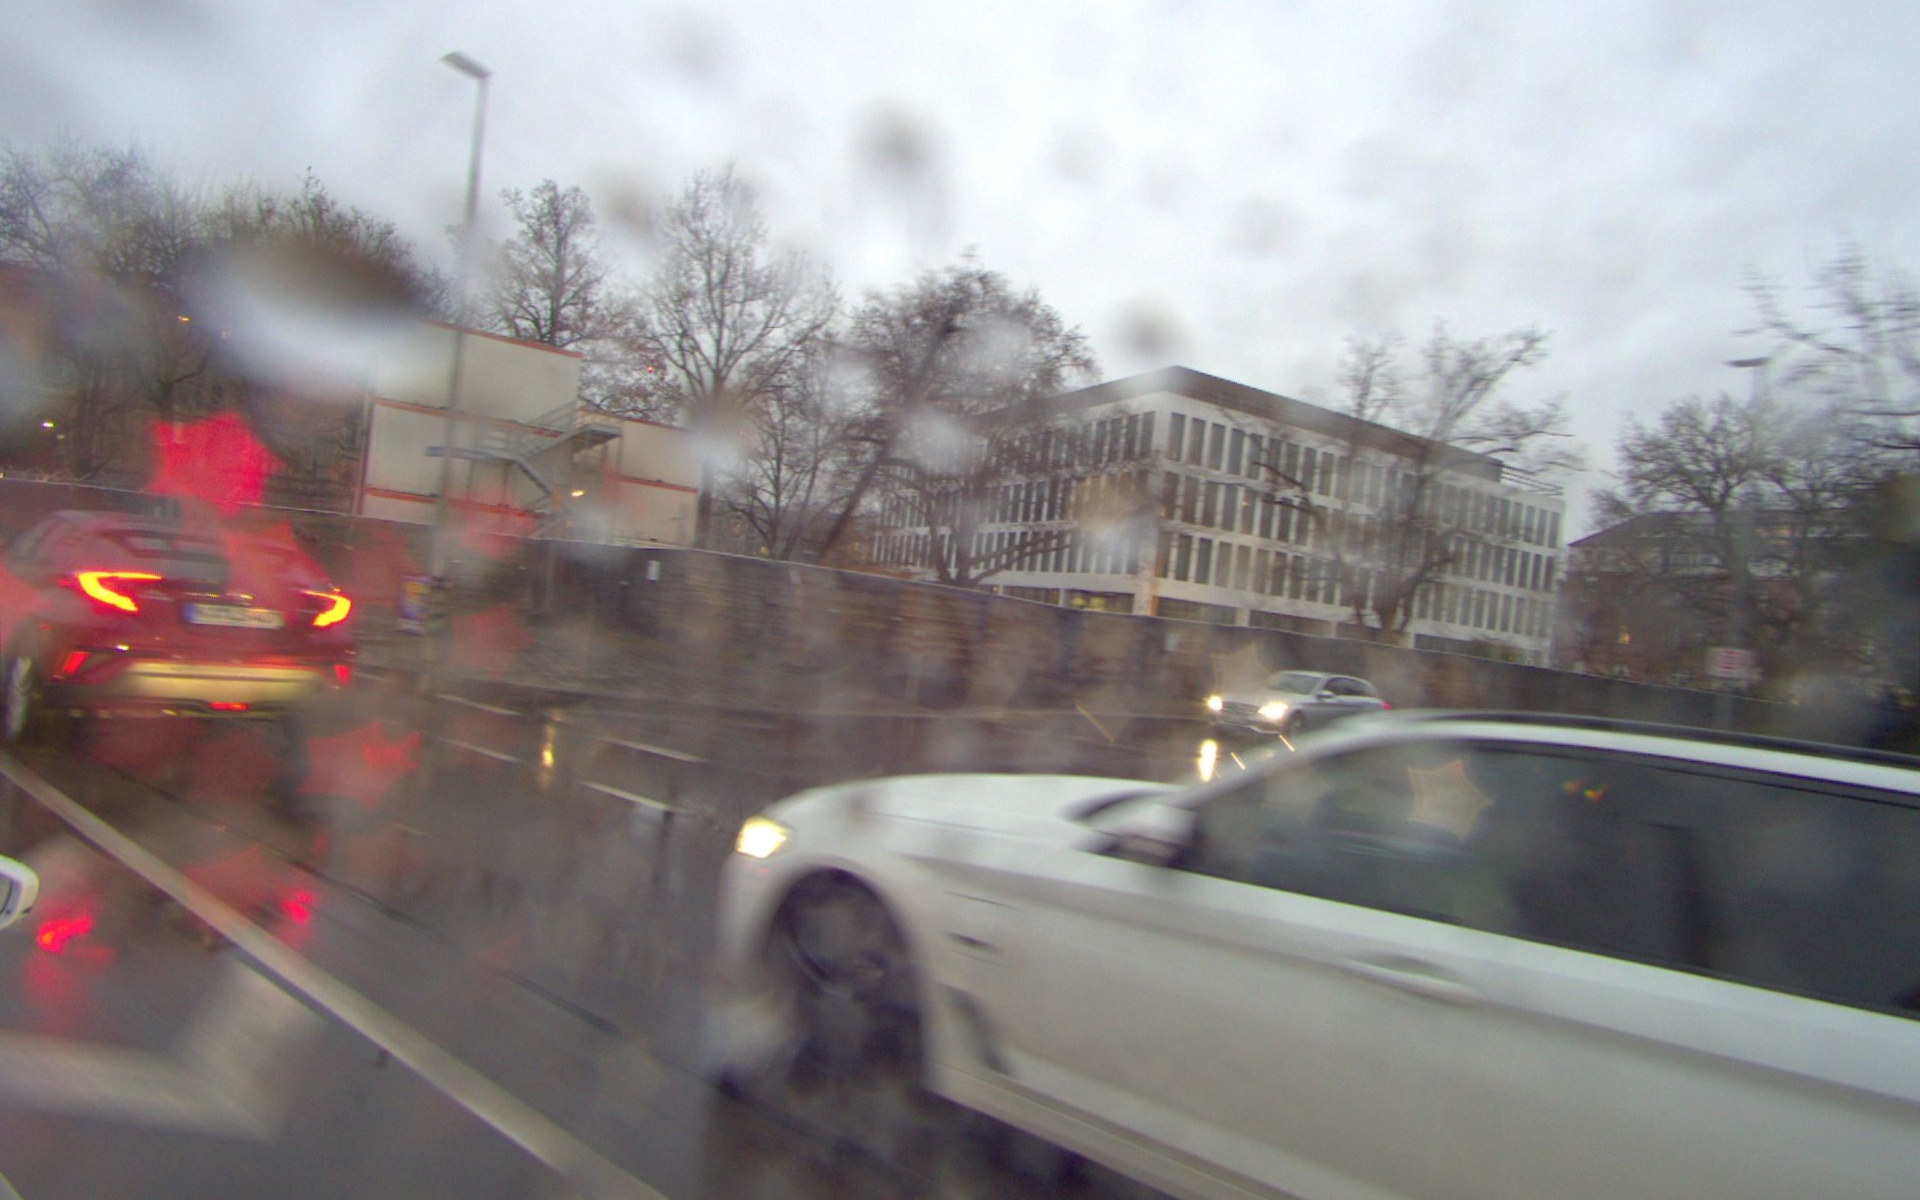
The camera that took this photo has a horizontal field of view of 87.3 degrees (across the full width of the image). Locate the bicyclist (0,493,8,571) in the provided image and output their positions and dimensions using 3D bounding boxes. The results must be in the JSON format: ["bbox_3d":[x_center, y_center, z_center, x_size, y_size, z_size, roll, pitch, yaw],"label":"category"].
[{"bbox_3d":[-19.949,-1.324,20.458,0.823,1.789,0.500,7,1,29],"label":"bicyclist"}]

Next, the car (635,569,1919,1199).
[{"bbox_3d":[1.403,0.914,2.906,4.891,1.519,1.788,5,-2,36],"label":"car"}]

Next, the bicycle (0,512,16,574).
[{"bbox_3d":[-19.852,-1.232,20.379,1.994,1.200,0.412,7,1,29],"label":"bicycle"}]

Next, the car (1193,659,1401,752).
[{"bbox_3d":[7.068,2.226,20.887,4.482,1.507,1.862,8,-1,-39],"label":"car"}]

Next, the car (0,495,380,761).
[{"bbox_3d":[-6.184,0.123,7.528,3.941,1.496,1.723,5,-3,38],"label":"car"}]

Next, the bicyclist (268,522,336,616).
[{"bbox_3d":[-12.760,-0.600,19.531,0.806,1.699,0.694,6,0,-20],"label":"bicyclist"}]

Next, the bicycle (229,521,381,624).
[{"bbox_3d":[-12.714,-0.506,19.605,2.215,1.676,0.688,8,-2,-18],"label":"bicycle"}]
